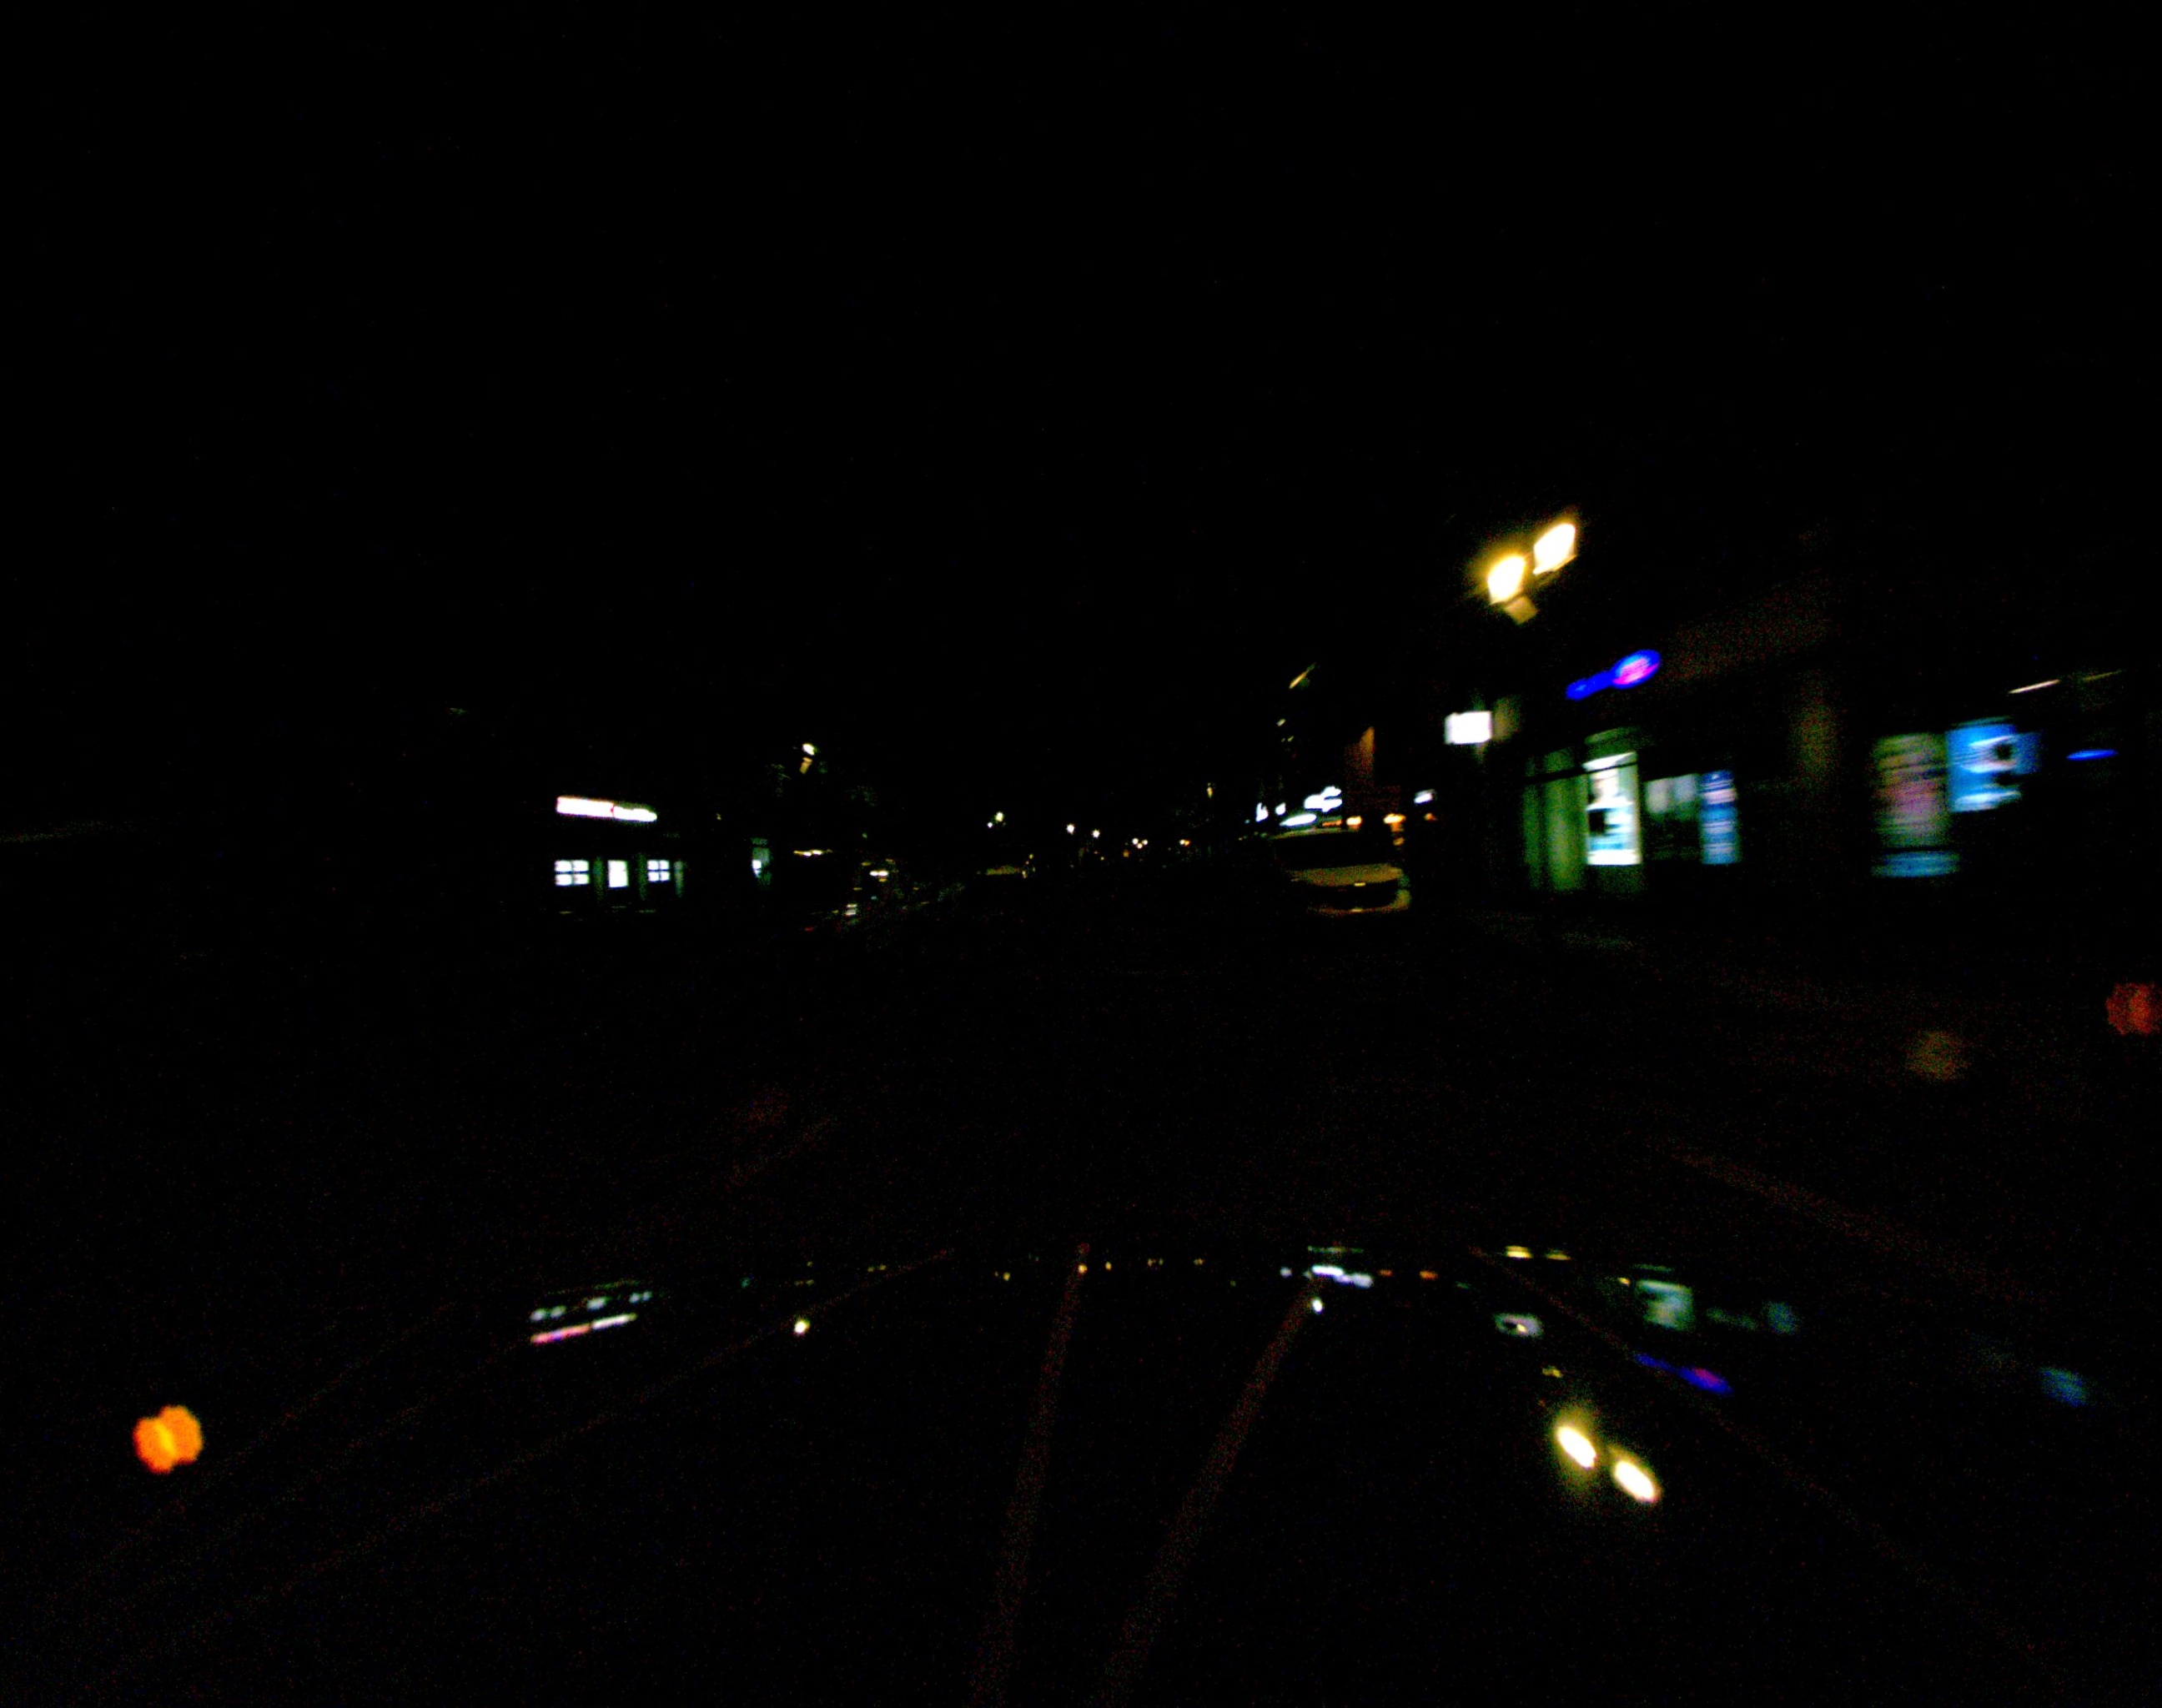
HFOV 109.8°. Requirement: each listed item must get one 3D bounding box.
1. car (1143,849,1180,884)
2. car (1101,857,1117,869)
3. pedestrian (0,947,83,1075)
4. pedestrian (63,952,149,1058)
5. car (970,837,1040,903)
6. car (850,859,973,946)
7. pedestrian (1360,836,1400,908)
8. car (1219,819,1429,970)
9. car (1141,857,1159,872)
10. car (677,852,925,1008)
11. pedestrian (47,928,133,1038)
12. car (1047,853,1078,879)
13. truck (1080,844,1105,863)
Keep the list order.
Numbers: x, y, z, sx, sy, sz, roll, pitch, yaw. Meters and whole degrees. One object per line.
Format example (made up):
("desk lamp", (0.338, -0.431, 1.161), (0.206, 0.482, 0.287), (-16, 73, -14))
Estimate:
("car", (5.120, 0.762, 48.923), (1.929, 1.953, 5.077), (-4, 0, 2))
("car", (3.958, 1.259, 107.112), (1.736, 1.492, 4.002), (-2, 0, 8))
("pedestrian", (-10.521, 1.562, 7.653), (0.389, 1.161, 0.519), (-2, 1, 39))
("pedestrian", (-10.883, 1.662, 8.483), (0.528, 1.047, 0.503), (-2, 1, 33))
("car", (-2.903, 0.583, 30.149), (2.139, 2.313, 5.151), (-2, 0, 0))
("car", (-3.683, 0.983, 17.264), (1.688, 1.649, 4.297), (-2, 0, 1))
("pedestrian", (7.786, 0.460, 19.814), (0.719, 1.795, 0.716), (-2, 0, 4))
("car", (4.058, 0.599, 13.758), (1.857, 2.075, 5.089), (-5, 0, -2))
("car", (7.726, 1.150, 85.771), (1.795, 1.496, 4.001), (-3, 0, 3))
("car", (-3.815, 0.910, 11.349), (1.793, 1.811, 4.580), (-2, 0, 2))
("pedestrian", (-12.420, 1.589, 9.526), (0.682, 1.256, 0.530), (-2, 1, 31))
("car", (-1.331, 0.857, 56.176), (1.912, 1.792, 4.937), (-2, 0, 2))
("truck", (1.428, -0.077, 91.351), (2.109, 2.230, 6.291), (-2, 0, 8))
